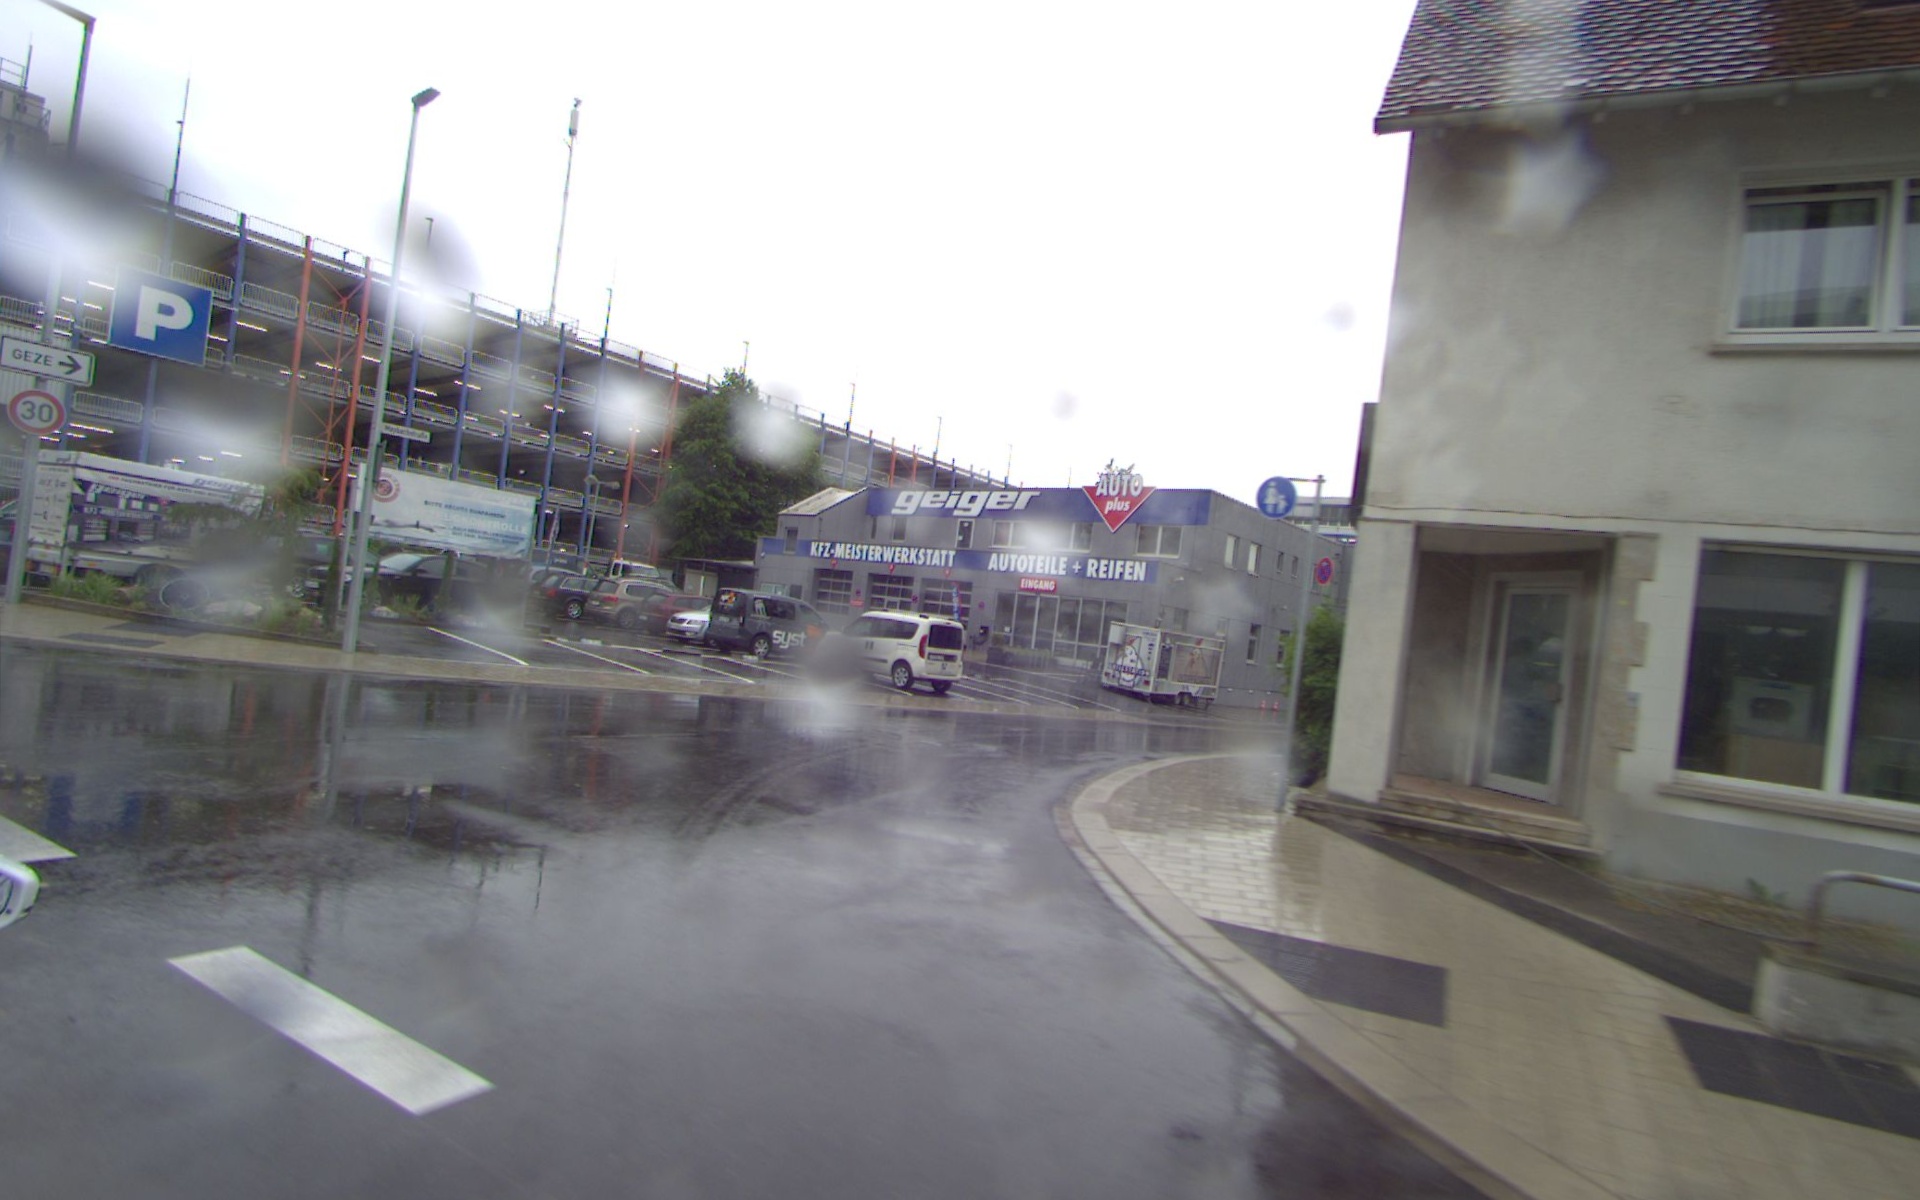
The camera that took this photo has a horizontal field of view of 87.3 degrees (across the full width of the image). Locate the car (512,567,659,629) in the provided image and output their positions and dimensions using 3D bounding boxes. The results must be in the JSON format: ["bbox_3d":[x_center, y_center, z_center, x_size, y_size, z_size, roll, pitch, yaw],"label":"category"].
[{"bbox_3d":[-12.858,-0.044,34.762,1.836,1.602,4.356,7,-1,36],"label":"car"}]

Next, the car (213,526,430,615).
[{"bbox_3d":[-14.396,-0.616,22.895,1.700,1.466,3.738,7,-2,24],"label":"car"}]

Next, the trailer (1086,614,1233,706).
[{"bbox_3d":[8.098,2.463,40.394,2.898,2.762,5.869,3,-7,44],"label":"trailer"}]

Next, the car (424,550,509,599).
[{"bbox_3d":[-23.155,-1.219,47.175,3.943,1.832,1.895,4,-7,39],"label":"car"}]

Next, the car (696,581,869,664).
[{"bbox_3d":[-4.972,0.676,28.662,1.868,1.851,4.467,7,-1,43],"label":"car"}]

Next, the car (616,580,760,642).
[{"bbox_3d":[-8.675,0.385,32.362,1.836,1.515,4.127,7,-1,36],"label":"car"}]

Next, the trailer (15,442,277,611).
[{"bbox_3d":[-12.941,-1.107,16.116,1.522,2.197,2.708,7,-1,29],"label":"trailer"}]

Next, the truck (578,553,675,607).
[{"bbox_3d":[-17.590,-1.063,52.992,5.229,2.291,1.997,4,-6,37],"label":"truck"}]

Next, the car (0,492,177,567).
[{"bbox_3d":[-25.253,-2.005,29.080,1.613,1.517,3.697,7,-2,28],"label":"car"}]

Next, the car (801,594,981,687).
[{"bbox_3d":[-1.859,1.043,26.419,4.422,1.851,1.887,7,0,37],"label":"car"}]

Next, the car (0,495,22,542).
[{"bbox_3d":[-33.328,-2.929,33.716,4.142,1.459,1.934,7,-2,36],"label":"car"}]

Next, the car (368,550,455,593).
[{"bbox_3d":[-24.716,-1.298,45.258,3.943,1.500,1.895,4,-7,39],"label":"car"}]

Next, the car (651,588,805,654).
[{"bbox_3d":[-6.924,0.667,30.305,1.839,1.515,4.121,7,-1,42],"label":"car"}]

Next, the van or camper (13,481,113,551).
[{"bbox_3d":[-32.095,-3.032,35.946,4.396,2.060,1.837,6,-2,39],"label":"van or camper"}]

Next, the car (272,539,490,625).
[{"bbox_3d":[-12.439,-0.335,21.850,1.662,1.330,3.738,7,-2,24],"label":"car"}]

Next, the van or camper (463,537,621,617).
[{"bbox_3d":[-15.775,-0.827,38.200,2.187,2.354,4.957,7,0,35],"label":"van or camper"}]

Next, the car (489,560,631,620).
[{"bbox_3d":[-14.325,-0.338,36.232,1.836,1.602,4.356,7,-1,36],"label":"car"}]

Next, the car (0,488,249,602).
[{"bbox_3d":[-15.071,-0.936,17.736,1.621,1.547,3.734,6,-1,27],"label":"car"}]

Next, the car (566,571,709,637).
[{"bbox_3d":[-10.632,0.181,33.435,1.836,1.687,4.127,7,-1,36],"label":"car"}]
